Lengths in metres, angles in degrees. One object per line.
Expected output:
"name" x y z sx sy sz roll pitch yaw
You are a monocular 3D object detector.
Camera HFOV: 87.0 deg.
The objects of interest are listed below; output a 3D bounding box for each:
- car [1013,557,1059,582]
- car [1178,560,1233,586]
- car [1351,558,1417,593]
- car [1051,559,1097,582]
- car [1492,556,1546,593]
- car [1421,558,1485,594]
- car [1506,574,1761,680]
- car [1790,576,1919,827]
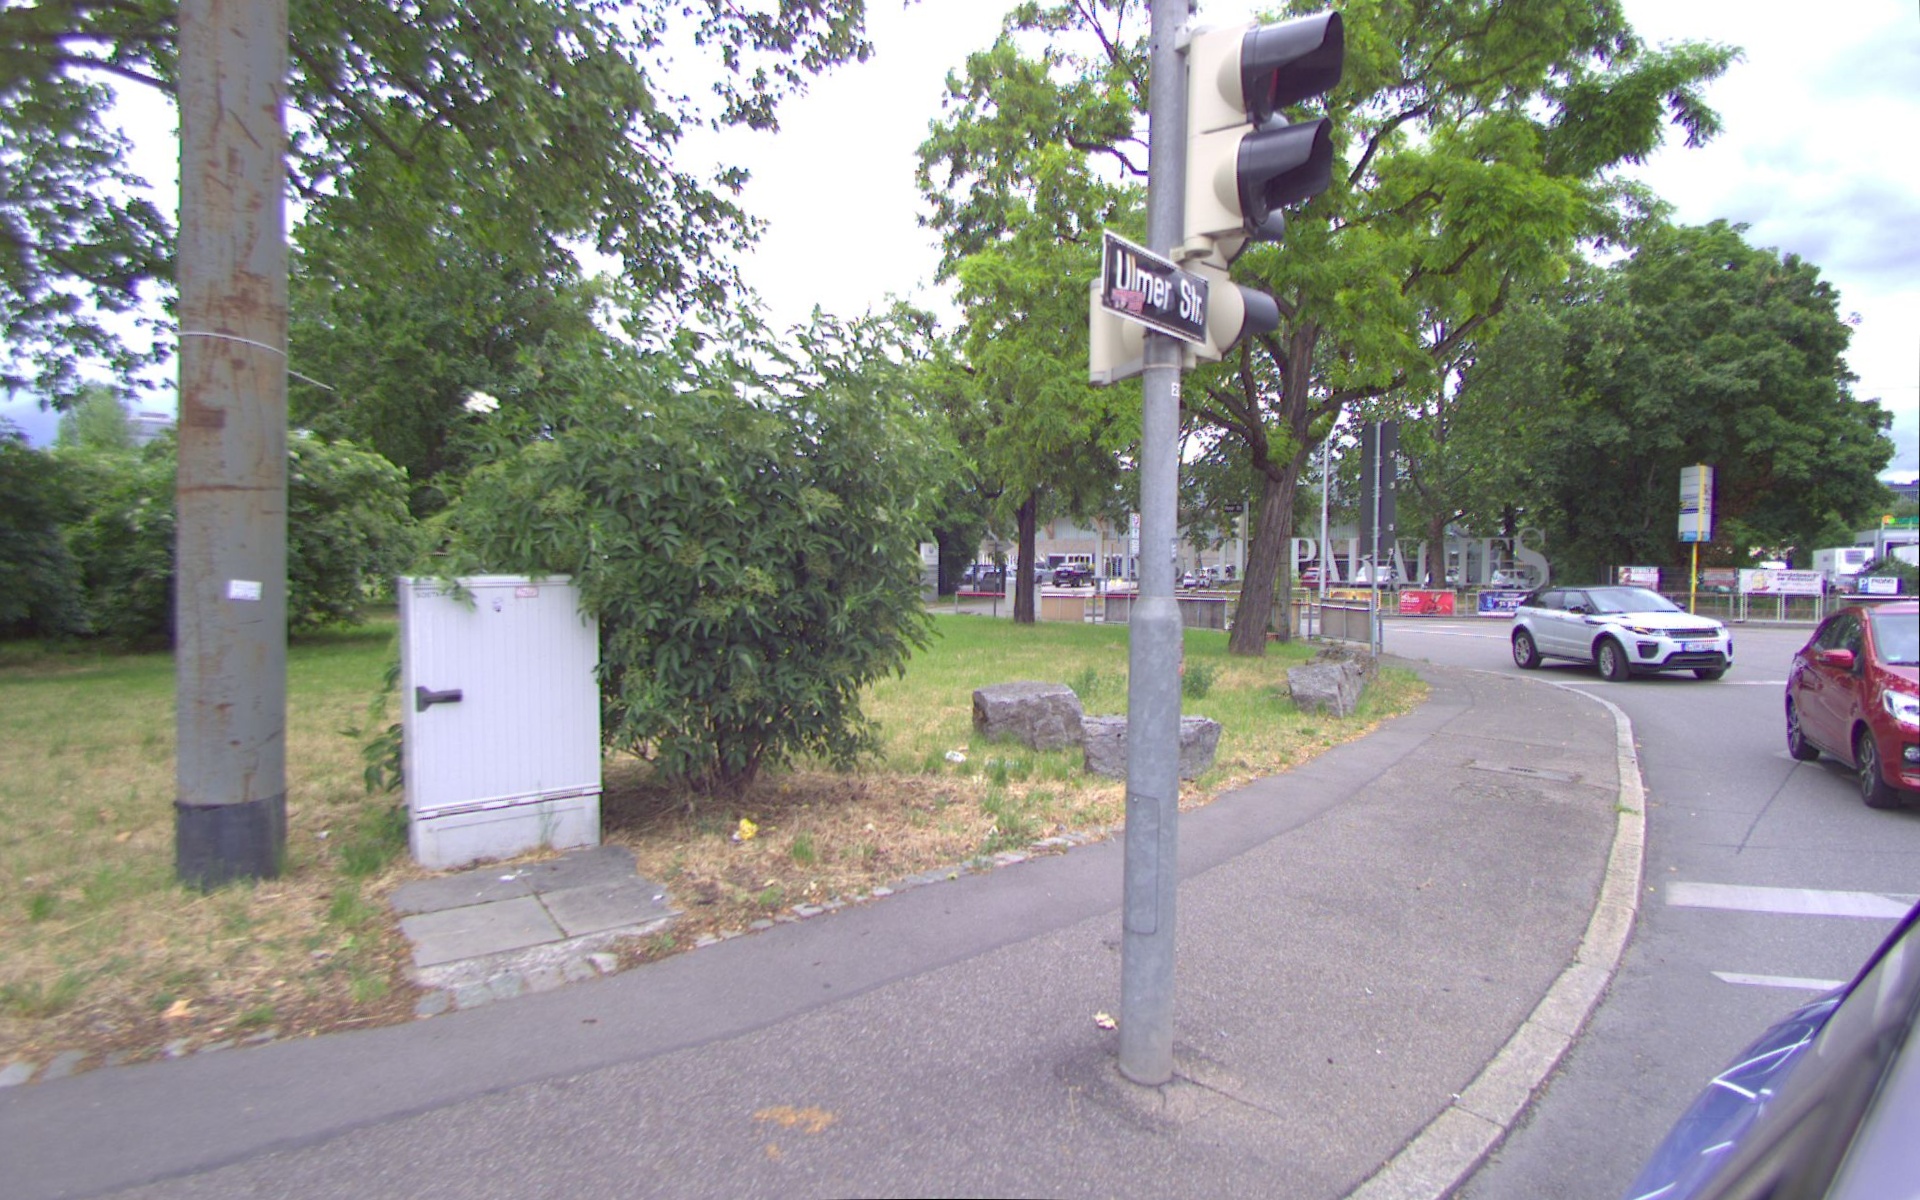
"car" 5.382 -2.145 71.426 1.898 1.721 3.964 2 2 26
"car" 15.979 -1.748 65.627 1.923 1.448 5.194 -2 2 32
"car" 20.861 -1.231 49.690 1.987 1.475 4.643 -2 2 35
"car" 7.856 -2.015 69.645 1.898 1.526 3.964 2 2 26
"car" 25.799 -1.195 46.637 1.983 1.475 4.651 -2 2 31
"car" 23.295 -1.160 47.719 1.987 1.475 4.643 -2 2 35
"car" 11.970 0.385 18.378 1.882 1.588 4.113 -3 2 1
"car" 7.867 0.634 7.808 1.754 1.548 3.700 0 3 32
